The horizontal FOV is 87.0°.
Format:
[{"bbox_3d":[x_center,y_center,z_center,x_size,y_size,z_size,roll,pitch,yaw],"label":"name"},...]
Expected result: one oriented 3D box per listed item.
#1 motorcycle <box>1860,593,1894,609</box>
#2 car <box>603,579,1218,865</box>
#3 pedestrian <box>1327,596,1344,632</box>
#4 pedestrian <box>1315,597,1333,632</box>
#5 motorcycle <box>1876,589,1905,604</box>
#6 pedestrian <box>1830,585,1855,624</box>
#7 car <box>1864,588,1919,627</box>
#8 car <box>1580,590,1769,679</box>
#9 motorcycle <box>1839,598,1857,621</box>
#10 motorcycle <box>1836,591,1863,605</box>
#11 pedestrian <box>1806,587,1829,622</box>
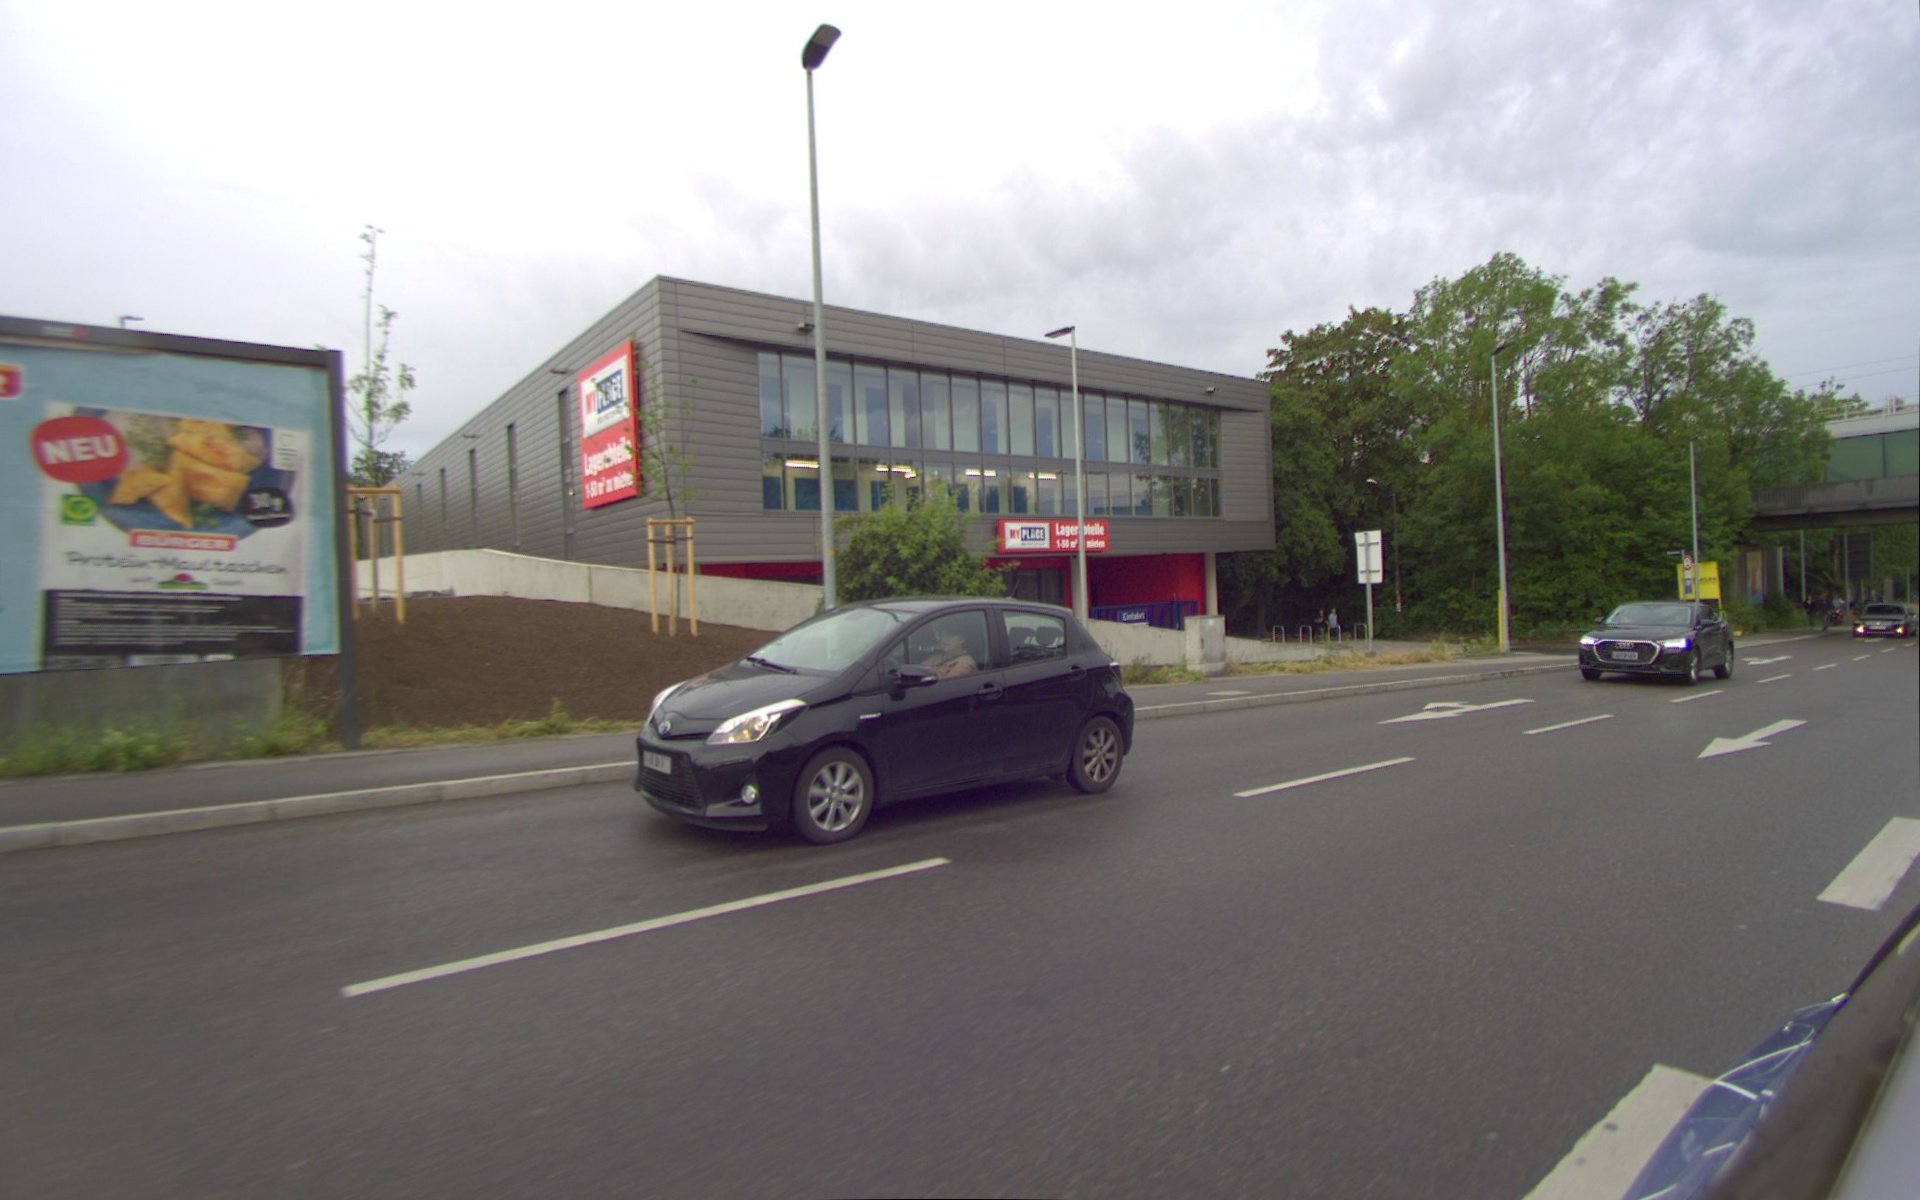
[{"bbox_3d":[69.043,0.051,76.233,1.841,1.206,0.515,-1,0,35],"label":"motorcycle"},{"bbox_3d":[-0.127,0.658,7.719,4.561,1.488,1.747,-2,0,-41],"label":"car"},{"bbox_3d":[19.680,0.738,53.009,0.588,1.839,0.587,-1,-1,-13],"label":"pedestrian"},{"bbox_3d":[18.963,0.750,52.752,0.612,1.839,0.587,-1,-1,-13],"label":"pedestrian"},{"bbox_3d":[76.240,-0.263,82.916,0.484,1.165,1.659,-2,-1,-32],"label":"motorcycle"},{"bbox_3d":[40.699,0.209,46.694,0.874,1.743,0.613,-1,0,-31],"label":"pedestrian"},{"bbox_3d":[39.569,0.294,42.537,4.439,1.448,1.747,-2,0,-41],"label":"car"},{"bbox_3d":[14.401,0.622,20.251,5.510,1.565,1.818,0,-1,-41],"label":"car"},{"bbox_3d":[47.936,0.508,54.624,1.788,1.151,0.470,-1,0,-42],"label":"motorcycle"},{"bbox_3d":[77.947,-0.176,88.684,0.548,1.160,1.645,-2,-1,-29],"label":"motorcycle"},{"bbox_3d":[40.211,0.221,47.440,0.567,1.616,0.653,-1,0,-29],"label":"pedestrian"}]
